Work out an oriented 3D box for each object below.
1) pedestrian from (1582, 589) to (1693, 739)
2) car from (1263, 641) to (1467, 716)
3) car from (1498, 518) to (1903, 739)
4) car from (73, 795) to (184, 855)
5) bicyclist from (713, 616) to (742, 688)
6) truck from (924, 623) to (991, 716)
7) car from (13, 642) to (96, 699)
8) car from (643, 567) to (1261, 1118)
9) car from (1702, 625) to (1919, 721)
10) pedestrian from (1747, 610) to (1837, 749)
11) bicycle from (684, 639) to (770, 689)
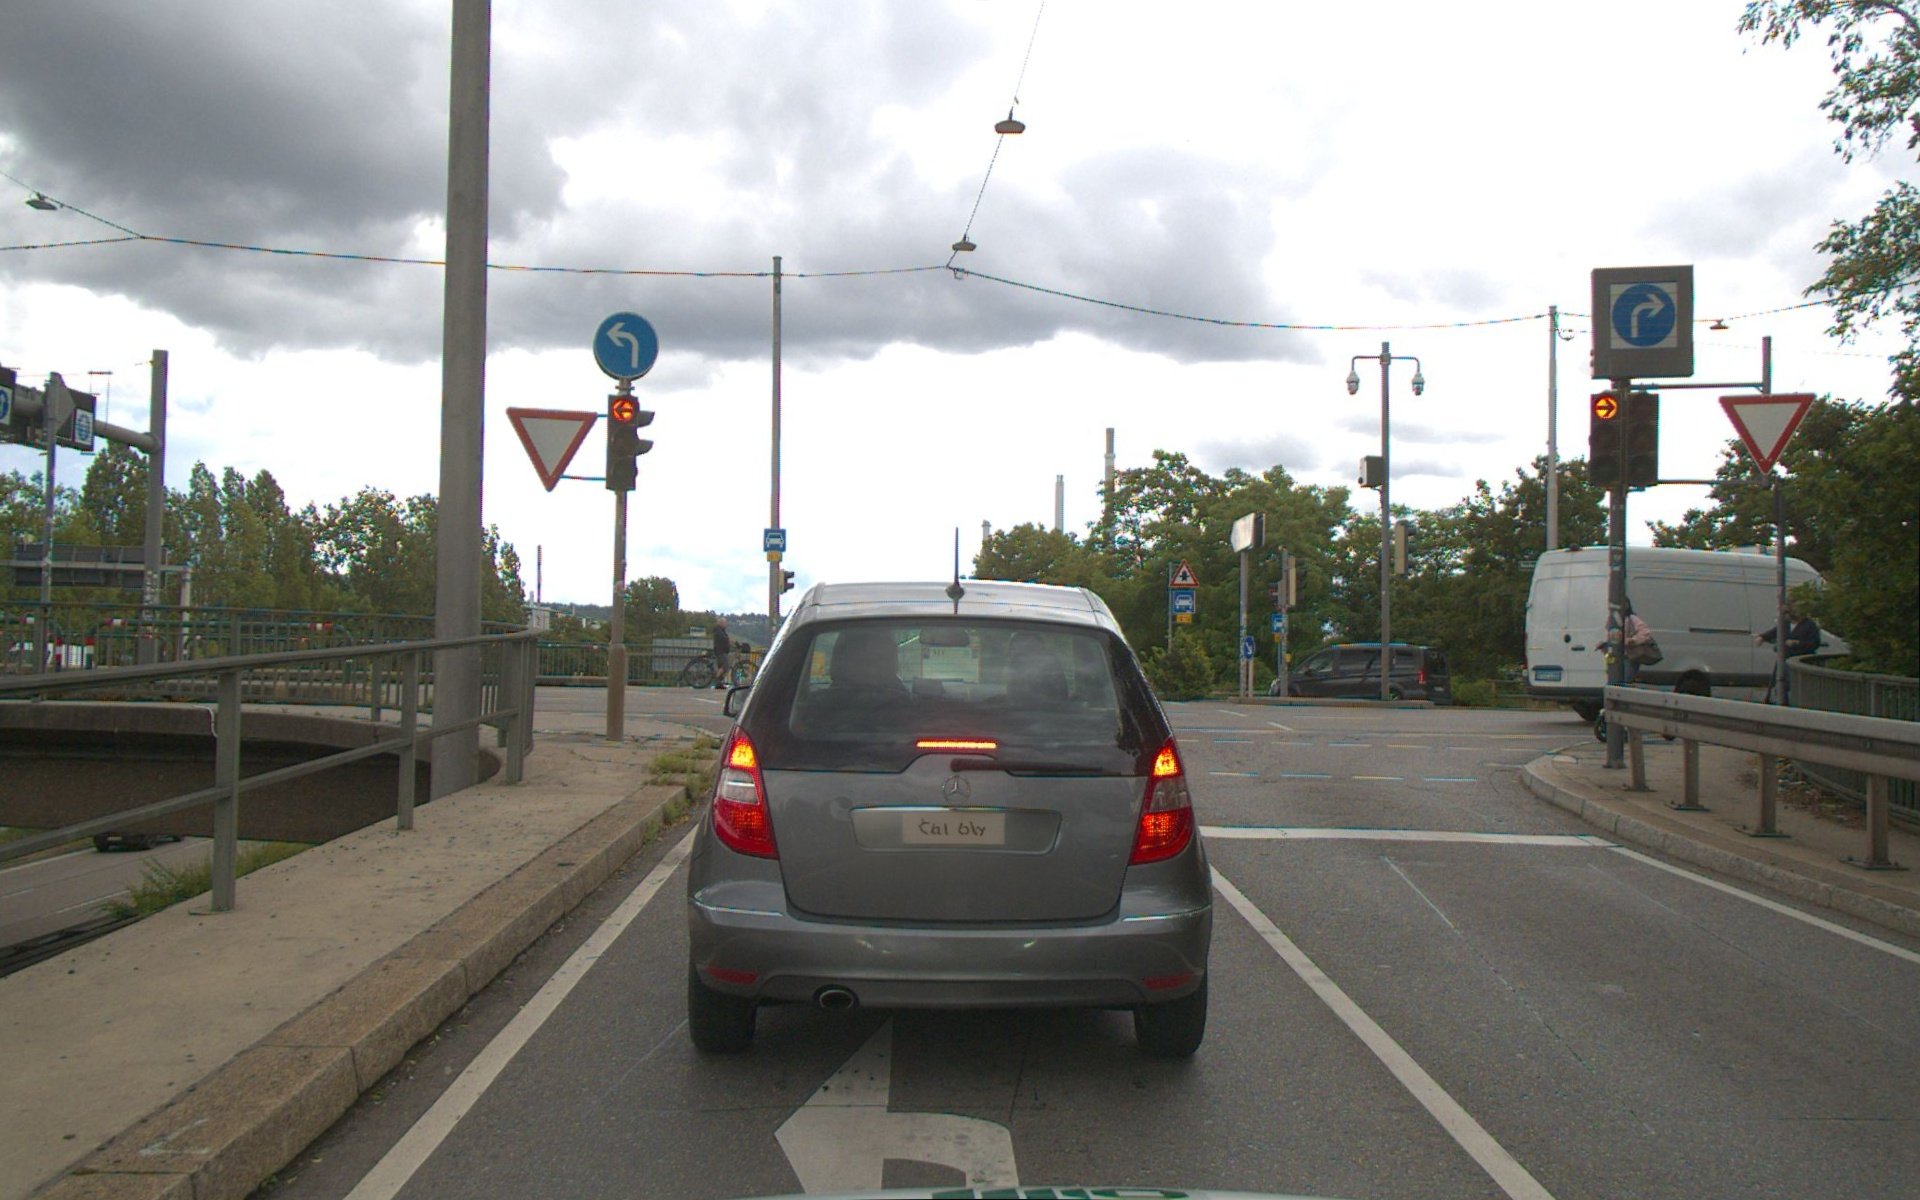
[{"bbox_3d":[7.896,0.751,19.320,0.816,1.707,0.978,0,-3,-4],"label":"pedestrian"},{"bbox_3d":[11.173,2.111,45.788,5.137,1.802,1.997,1,1,37],"label":"car"},{"bbox_3d":[11.846,0.400,26.273,6.687,2.831,2.096,-5,-2,-30],"label":"car"},{"bbox_3d":[-31.683,8.554,63.197,1.953,1.782,4.588,0,-2,-1],"label":"car"},{"bbox_3d":[-5.615,1.249,39.954,0.641,1.703,0.867,0,0,-11],"label":"bicyclist"},{"bbox_3d":[-0.190,2.915,73.142,2.732,3.580,10.246,0,0,-1],"label":"truck"},{"bbox_3d":[-38.959,3.010,71.247,1.819,2.254,3.659,0,0,-5],"label":"car"},{"bbox_3d":[0.021,0.686,6.883,1.819,1.616,4.001,0,1,1],"label":"car"},{"bbox_3d":[16.404,1.353,31.328,3.904,1.694,1.813,0,0,2],"label":"car"},{"bbox_3d":[10.173,0.954,20.236,0.670,1.647,0.774,0,0,-37],"label":"pedestrian"},{"bbox_3d":[-5.627,1.540,39.940,1.996,1.144,0.927,0,0,-12],"label":"bicycle"}]
